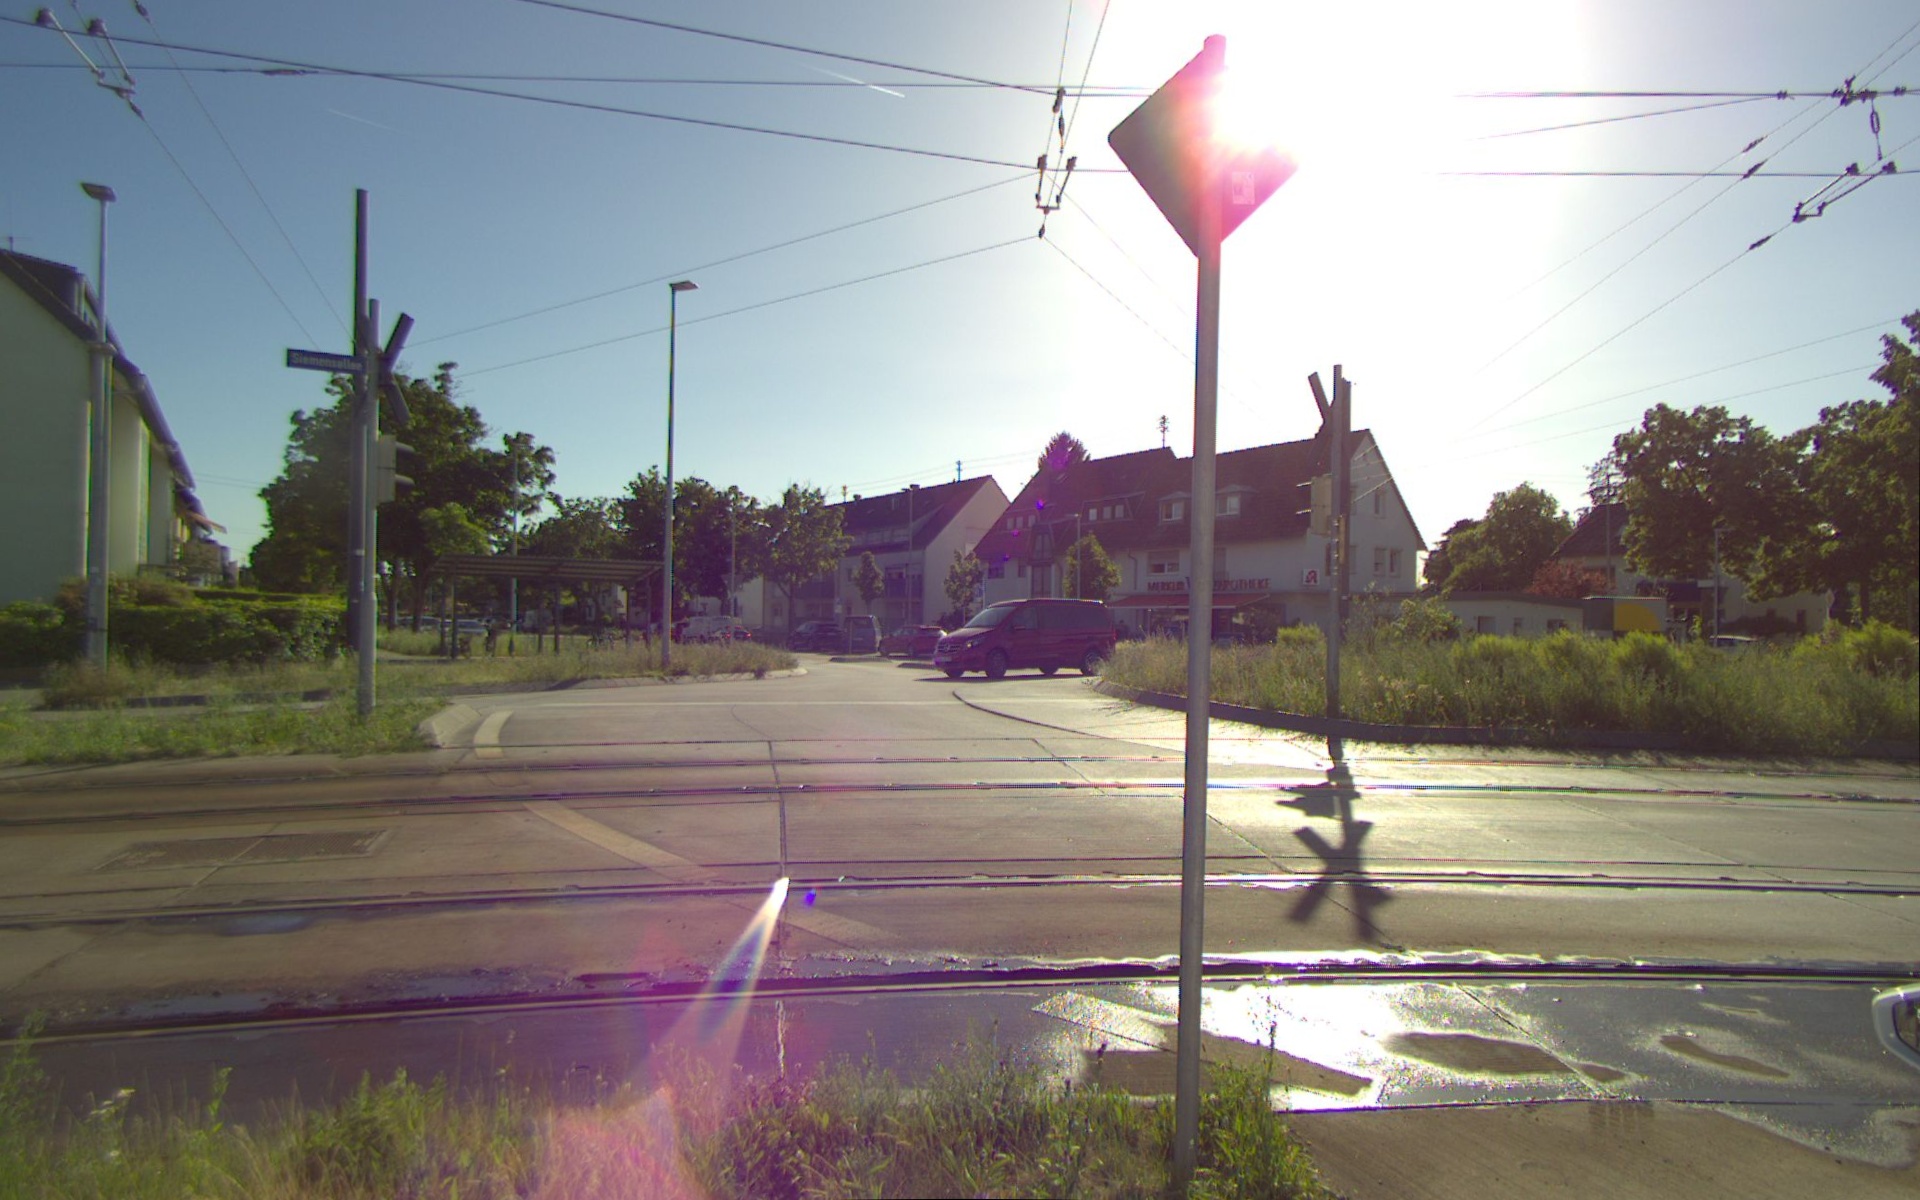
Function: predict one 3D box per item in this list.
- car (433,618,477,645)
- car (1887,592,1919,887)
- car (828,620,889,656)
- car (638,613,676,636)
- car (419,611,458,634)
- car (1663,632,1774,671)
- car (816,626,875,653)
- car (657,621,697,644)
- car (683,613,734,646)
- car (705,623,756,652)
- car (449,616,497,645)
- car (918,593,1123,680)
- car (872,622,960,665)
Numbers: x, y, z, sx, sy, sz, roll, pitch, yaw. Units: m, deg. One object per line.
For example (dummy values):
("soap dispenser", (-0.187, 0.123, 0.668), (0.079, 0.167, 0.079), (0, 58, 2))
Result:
("car", (-30.574, 1.889, 60.770), (1.809, 1.411, 3.831), (2, 0, -35))
("car", (7.223, 0.801, 4.552), (4.186, 1.693, 1.812), (0, 0, 34))
("car", (-5.134, 1.921, 50.883), (3.020, 1.641, 1.409), (2, 0, -6))
("car", (-23.514, 1.868, 77.830), (1.537, 1.698, 4.177), (2, -1, -36))
("car", (-34.309, 1.484, 66.055), (1.809, 1.411, 3.831), (2, -2, -35))
("car", (38.286, 2.581, 50.778), (1.974, 1.717, 4.023), (2, 0, -26))
("car", (-6.313, 2.163, 55.153), (3.107, 1.315, 1.380), (2, 0, -11))
("car", (-20.966, 2.404, 74.242), (1.531, 1.613, 4.035), (2, -1, -36))
("car", (-17.526, 2.033, 69.902), (1.879, 2.041, 4.326), (2, 0, -36))
("car", (-14.690, 2.367, 64.261), (1.903, 1.637, 4.247), (2, 0, -31))
("car", (-26.871, 1.654, 55.321), (1.809, 1.411, 3.753), (2, 0, -35))
("car", (1.626, 0.888, 25.771), (5.186, 2.008, 1.980), (1, -1, -35))
("car", (-2.097, 1.971, 46.624), (1.981, 1.721, 4.326), (2, 0, -36))
